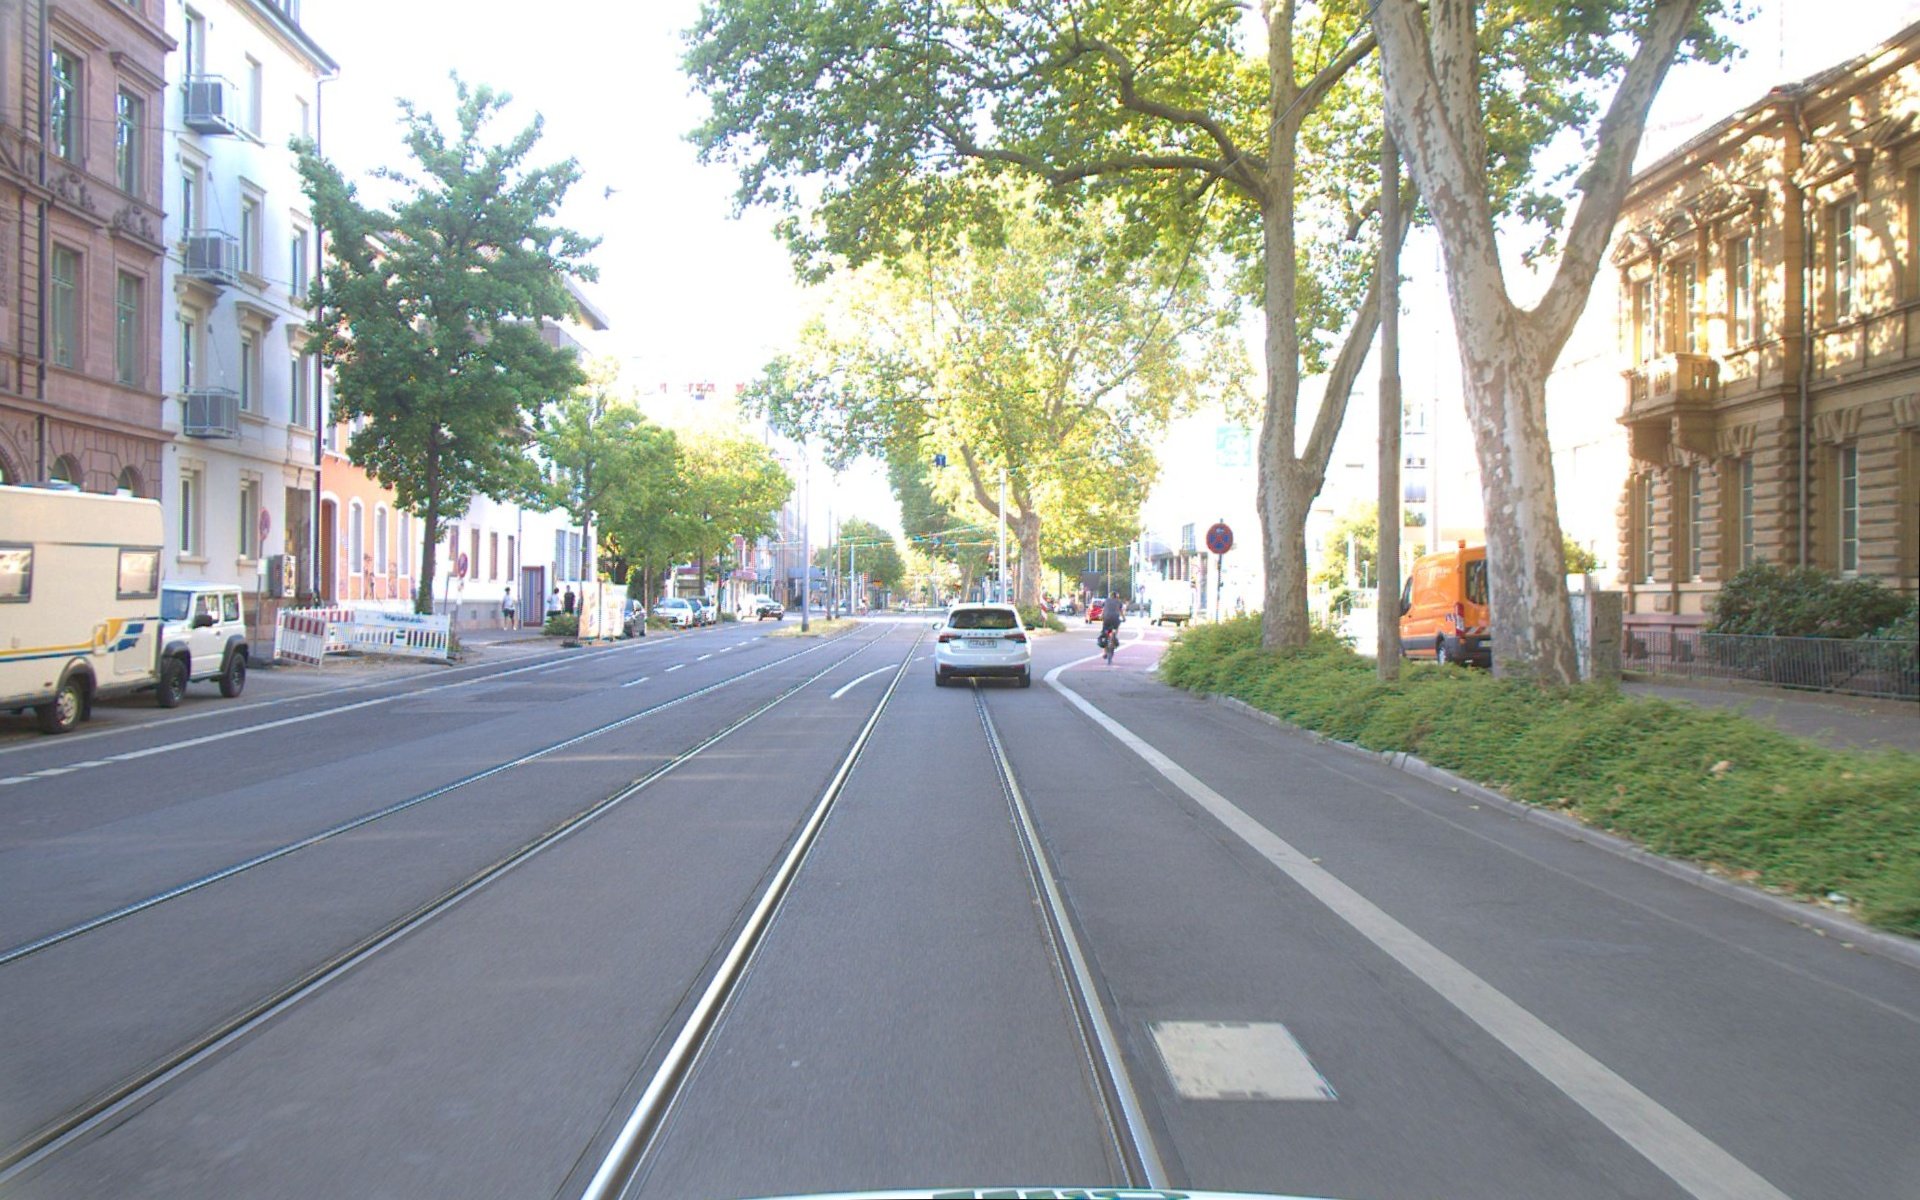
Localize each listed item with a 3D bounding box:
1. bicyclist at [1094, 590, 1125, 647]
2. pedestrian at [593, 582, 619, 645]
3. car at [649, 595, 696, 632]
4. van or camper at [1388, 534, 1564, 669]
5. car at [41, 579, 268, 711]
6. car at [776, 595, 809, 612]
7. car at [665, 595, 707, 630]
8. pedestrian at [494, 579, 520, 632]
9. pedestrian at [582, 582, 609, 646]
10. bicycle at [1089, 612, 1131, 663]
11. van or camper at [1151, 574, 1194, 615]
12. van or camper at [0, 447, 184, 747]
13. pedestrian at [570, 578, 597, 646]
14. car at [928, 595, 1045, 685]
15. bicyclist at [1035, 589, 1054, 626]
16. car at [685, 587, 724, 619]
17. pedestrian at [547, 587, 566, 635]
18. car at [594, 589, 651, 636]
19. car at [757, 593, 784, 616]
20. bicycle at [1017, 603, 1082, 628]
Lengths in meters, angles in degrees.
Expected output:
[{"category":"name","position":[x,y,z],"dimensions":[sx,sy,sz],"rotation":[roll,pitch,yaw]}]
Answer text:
[{"category":"bicyclist","position":[3.645,0.449,40.430],"dimensions":[0.665,1.362,0.525],"rotation":[1,0,-2]},{"category":"pedestrian","position":[-11.691,0.441,54.634],"dimensions":[0.633,2.037,0.750],"rotation":[1,0,3]},{"category":"car","position":[-14.132,0.649,81.447],"dimensions":[1.758,1.756,3.782],"rotation":[1,0,-3]},{"category":"van or camper","position":[10.396,0.032,33.760],"dimensions":[1.985,2.507,5.108],"rotation":[2,0,0]},{"category":"car","position":[-11.691,0.600,24.282],"dimensions":[1.608,1.756,3.782],"rotation":[1,0,-3]},{"category":"car","position":[-20.503,0.430,202.430],"dimensions":[3.713,1.850,1.804],"rotation":[2,0,4]},{"category":"car","position":[-14.464,0.640,87.383],"dimensions":[1.758,1.756,3.782],"rotation":[1,0,-3]},{"category":"pedestrian","position":[-17.617,0.225,64.362],"dimensions":[0.735,2.037,0.646],"rotation":[1,0,37]},{"category":"pedestrian","position":[-11.603,0.443,52.644],"dimensions":[0.633,2.037,0.750],"rotation":[1,0,3]},{"category":"bicycle","position":[3.641,0.890,40.391],"dimensions":[0.666,1.175,2.963],"rotation":[1,0,-1]},{"category":"van or camper","position":[12.706,-0.313,99.034],"dimensions":[1.953,2.384,3.999],"rotation":[2,0,-1]},{"category":"van or camper","position":[-11.293,-0.054,18.116],"dimensions":[2.171,3.195,7.113],"rotation":[1,0,0]},{"category":"pedestrian","position":[-11.538,0.363,50.713],"dimensions":[0.588,2.037,0.750],"rotation":[1,0,3]},{"category":"car","position":[0.412,0.684,30.042],"dimensions":[1.806,1.506,3.835],"rotation":[1,0,-4]},{"category":"bicyclist","position":[3.672,0.329,71.814],"dimensions":[0.720,1.617,0.587],"rotation":[0,0,11]},{"category":"car","position":[-14.504,0.147,94.134],"dimensions":[1.758,1.756,3.782],"rotation":[1,0,-3]},{"category":"pedestrian","position":[-15.317,0.409,62.776],"dimensions":[0.589,1.803,0.700],"rotation":[2,0,-7]},{"category":"car","position":[-13.125,0.462,64.490],"dimensions":[1.608,1.756,3.782],"rotation":[1,0,-3]},{"category":"car","position":[-13.001,0.304,113.542],"dimensions":[1.602,1.503,3.781],"rotation":[1,0,-4]},{"category":"bicycle","position":[3.872,0.680,71.760],"dimensions":[2.711,1.017,0.593],"rotation":[2,0,13]}]
